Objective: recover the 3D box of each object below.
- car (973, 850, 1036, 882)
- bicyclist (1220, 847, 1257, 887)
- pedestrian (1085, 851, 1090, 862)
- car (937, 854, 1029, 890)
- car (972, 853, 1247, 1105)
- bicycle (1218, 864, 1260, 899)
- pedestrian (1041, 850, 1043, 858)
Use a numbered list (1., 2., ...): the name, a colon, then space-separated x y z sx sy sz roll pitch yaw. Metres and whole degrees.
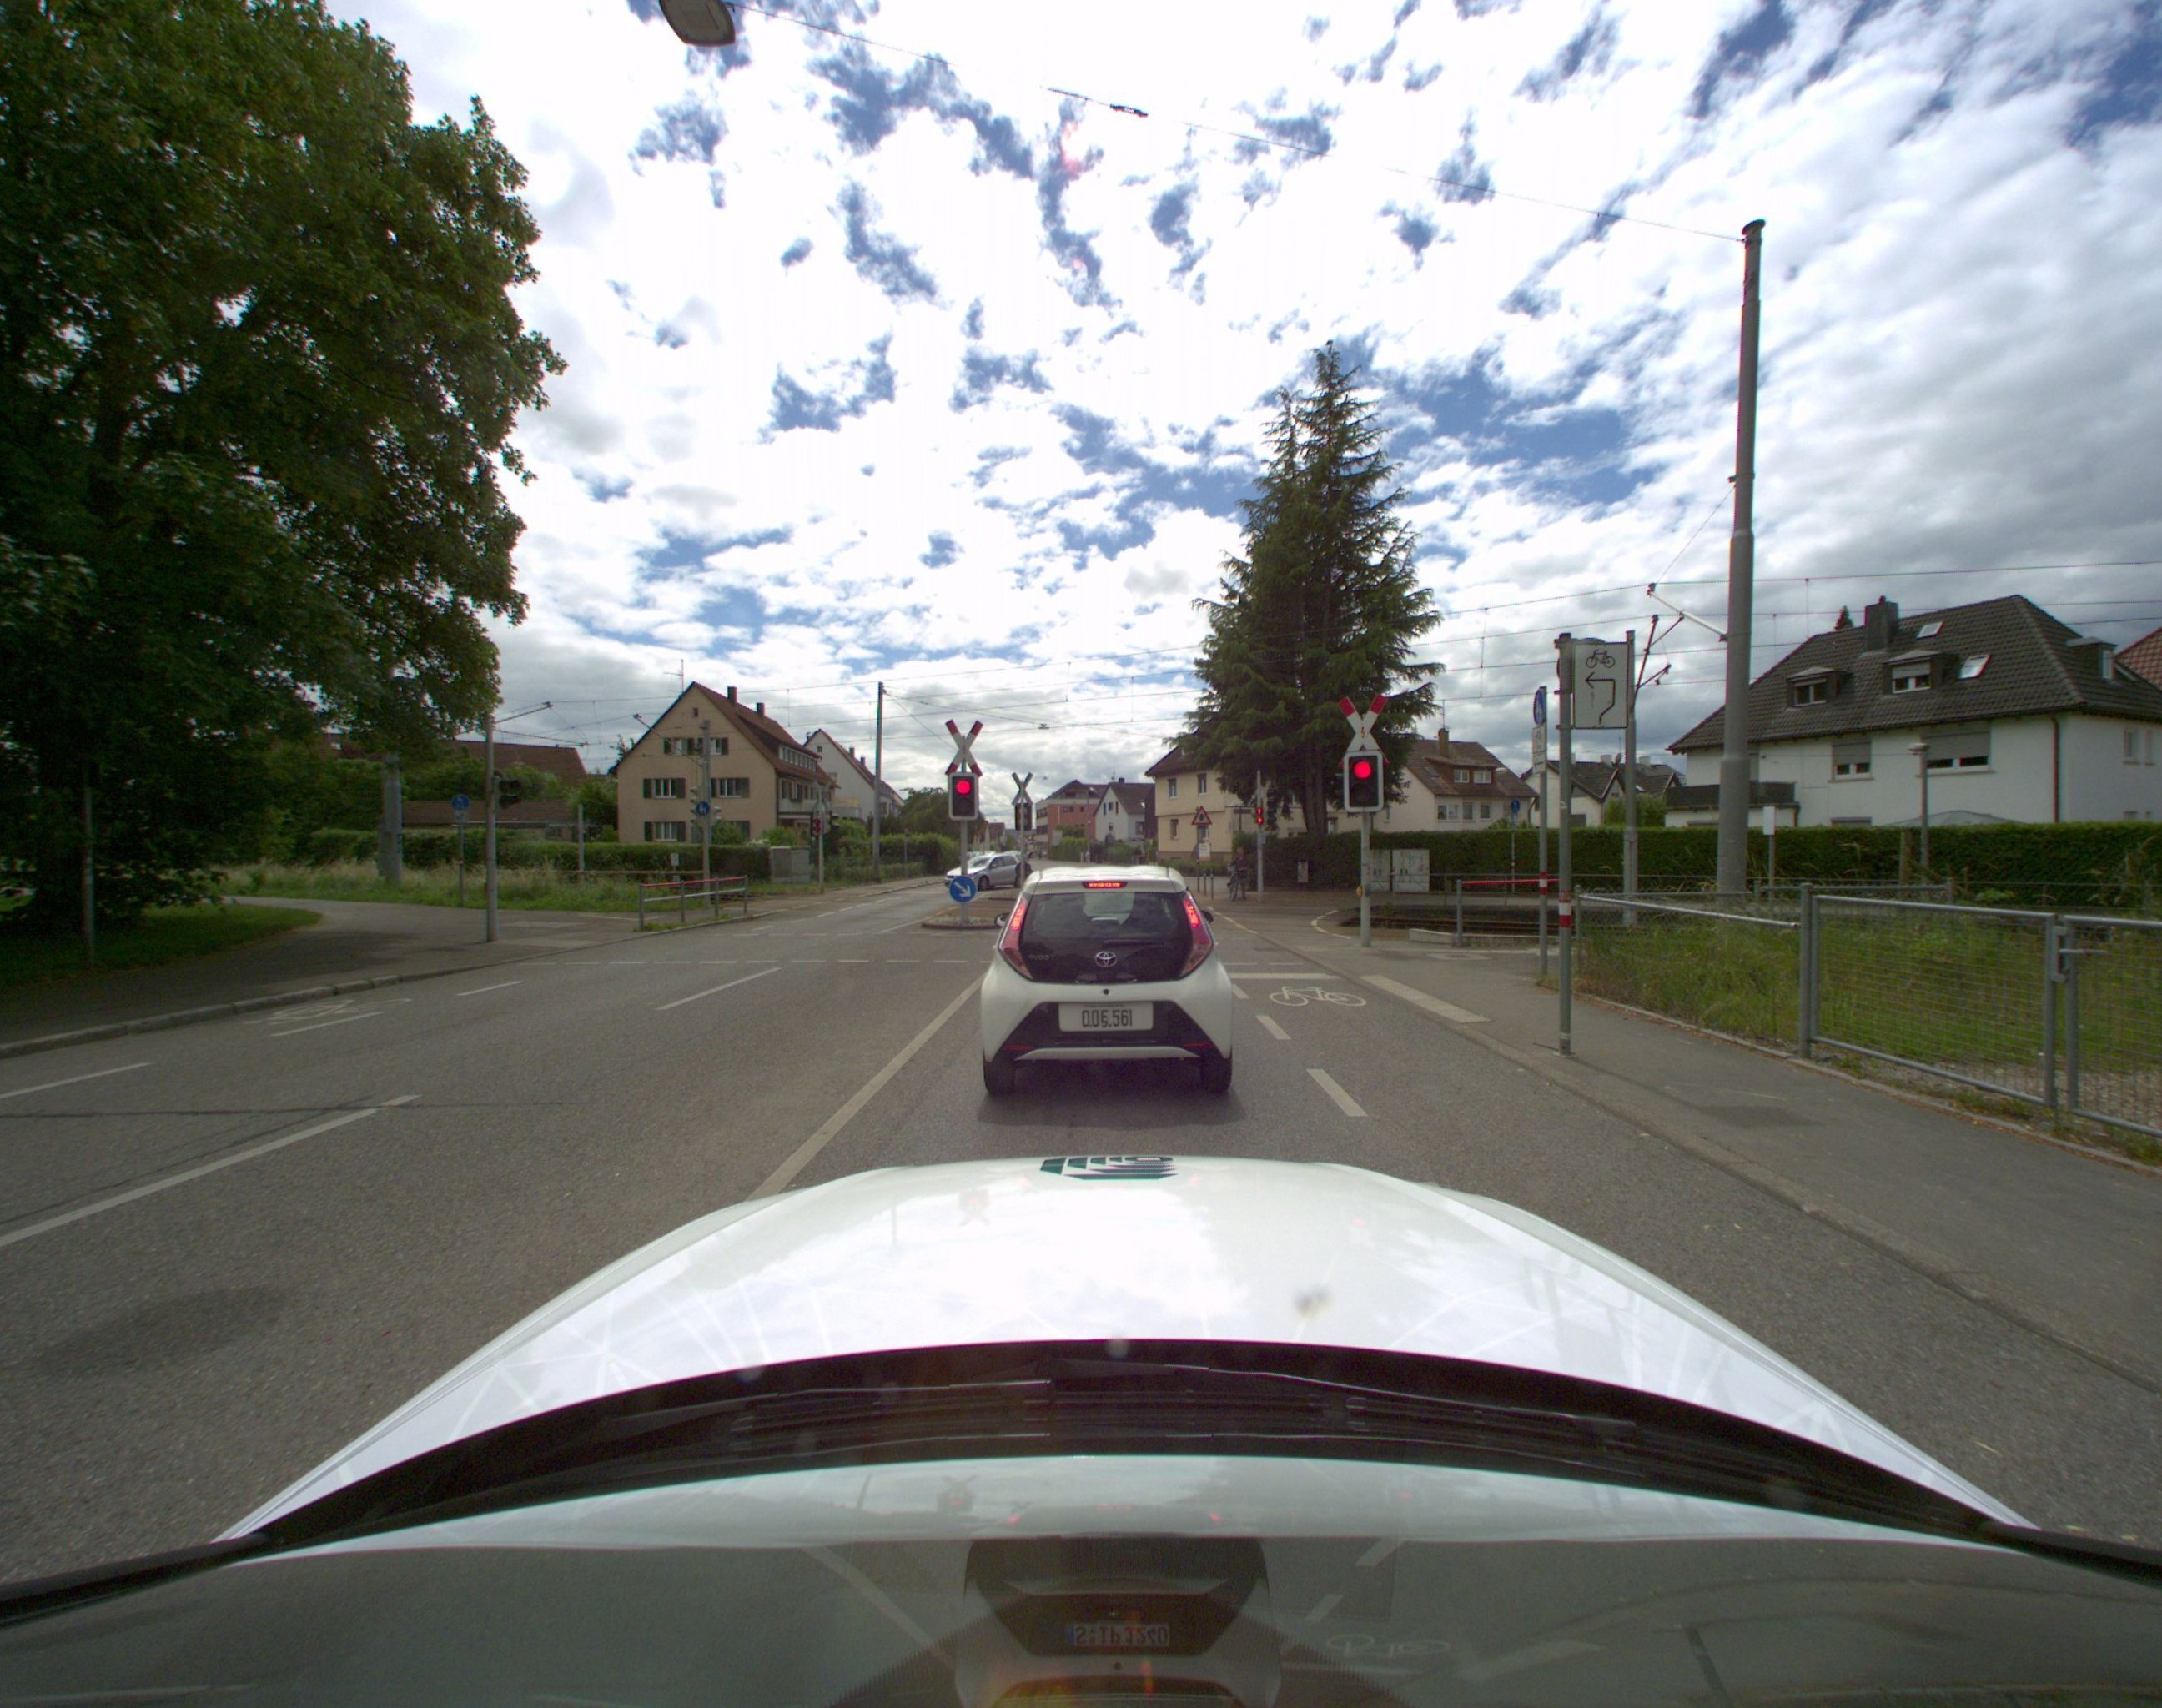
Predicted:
1. car: -3.798 0.596 40.835 1.560 1.510 2.804 0 -1 44
2. bicyclist: 5.074 0.426 26.265 0.923 1.247 1.108 -2 0 23
3. pedestrian: 0.783 0.304 100.445 0.409 1.437 0.440 0 0 39
4. car: -4.087 0.738 34.660 1.672 1.458 4.095 -2 -1 31
5. car: 0.231 0.763 6.857 1.615 1.486 4.001 -1 -1 2
6. bicycle: 5.122 0.874 26.352 0.923 1.040 1.925 -2 0 23
7. pedestrian: -6.847 -0.013 143.521 0.413 1.437 0.436 0 0 -9
